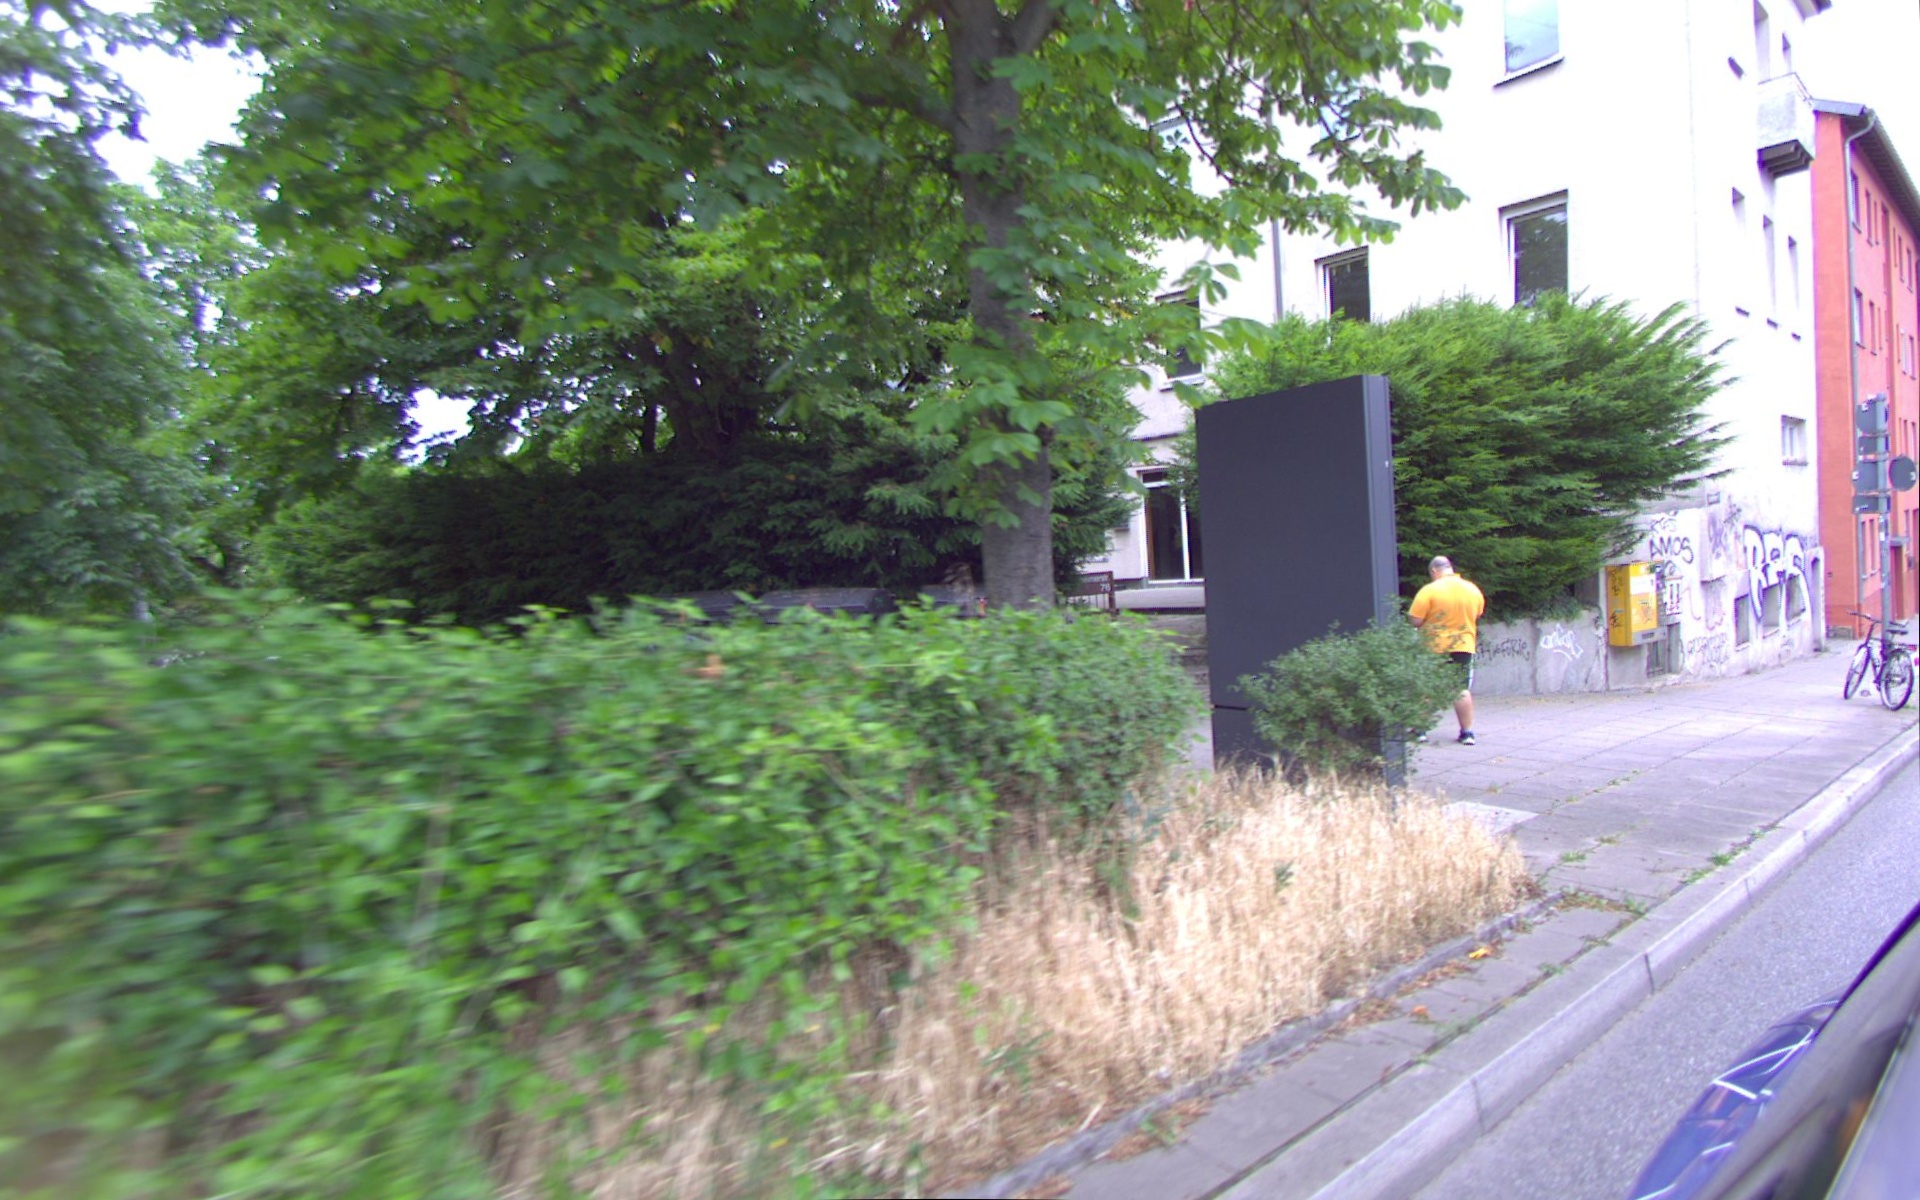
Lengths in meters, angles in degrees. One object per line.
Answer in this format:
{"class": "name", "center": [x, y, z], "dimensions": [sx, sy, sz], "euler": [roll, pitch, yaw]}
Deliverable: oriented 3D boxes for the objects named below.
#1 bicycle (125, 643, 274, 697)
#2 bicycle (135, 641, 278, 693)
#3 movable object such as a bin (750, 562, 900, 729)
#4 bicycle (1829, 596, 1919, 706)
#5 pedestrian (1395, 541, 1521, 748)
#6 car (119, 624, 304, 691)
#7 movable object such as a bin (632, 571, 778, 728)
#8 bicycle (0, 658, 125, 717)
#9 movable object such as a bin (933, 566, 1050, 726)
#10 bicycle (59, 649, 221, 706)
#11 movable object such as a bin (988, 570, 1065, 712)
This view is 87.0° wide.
{"class": "bicycle", "center": [-19.480, 1.769, 26.021], "dimensions": [2.894, 1.160, 0.924], "euler": [-2, -1, -26]}
{"class": "bicycle", "center": [-19.938, 1.763, 26.887], "dimensions": [2.894, 1.160, 0.924], "euler": [-2, -1, -26]}
{"class": "movable object such as a bin", "center": [-1.310, 0.421, 9.978], "dimensions": [1.240, 1.555, 0.840], "euler": [0, 0, 15]}
{"class": "bicycle", "center": [11.093, 0.557, 11.990], "dimensions": [0.634, 1.157, 2.049], "euler": [1, 2, 24]}
{"class": "pedestrian", "center": [4.379, 0.357, 8.964], "dimensions": [0.823, 1.733, 0.818], "euler": [0, 1, 14]}
{"class": "car", "center": [-25.154, 1.884, 34.229], "dimensions": [1.975, 1.928, 4.682], "euler": [-3, -1, 21]}
{"class": "movable object such as a bin", "center": [-2.658, 0.506, 10.594], "dimensions": [1.183, 1.555, 0.839], "euler": [-2, 0, 17]}
{"class": "bicycle", "center": [-20.769, 1.980, 22.763], "dimensions": [2.894, 1.160, 0.924], "euler": [-2, -1, -26]}
{"class": "movable object such as a bin", "center": [0.327, 0.436, 10.273], "dimensions": [1.129, 1.554, 0.843], "euler": [0, 1, 4]}
{"class": "bicycle", "center": [-19.910, 1.855, 24.674], "dimensions": [2.894, 1.160, 0.924], "euler": [-2, -1, -26]}
{"class": "movable object such as a bin", "center": [0.739, 0.421, 11.395], "dimensions": [0.796, 1.505, 1.078], "euler": [1, 1, 4]}
